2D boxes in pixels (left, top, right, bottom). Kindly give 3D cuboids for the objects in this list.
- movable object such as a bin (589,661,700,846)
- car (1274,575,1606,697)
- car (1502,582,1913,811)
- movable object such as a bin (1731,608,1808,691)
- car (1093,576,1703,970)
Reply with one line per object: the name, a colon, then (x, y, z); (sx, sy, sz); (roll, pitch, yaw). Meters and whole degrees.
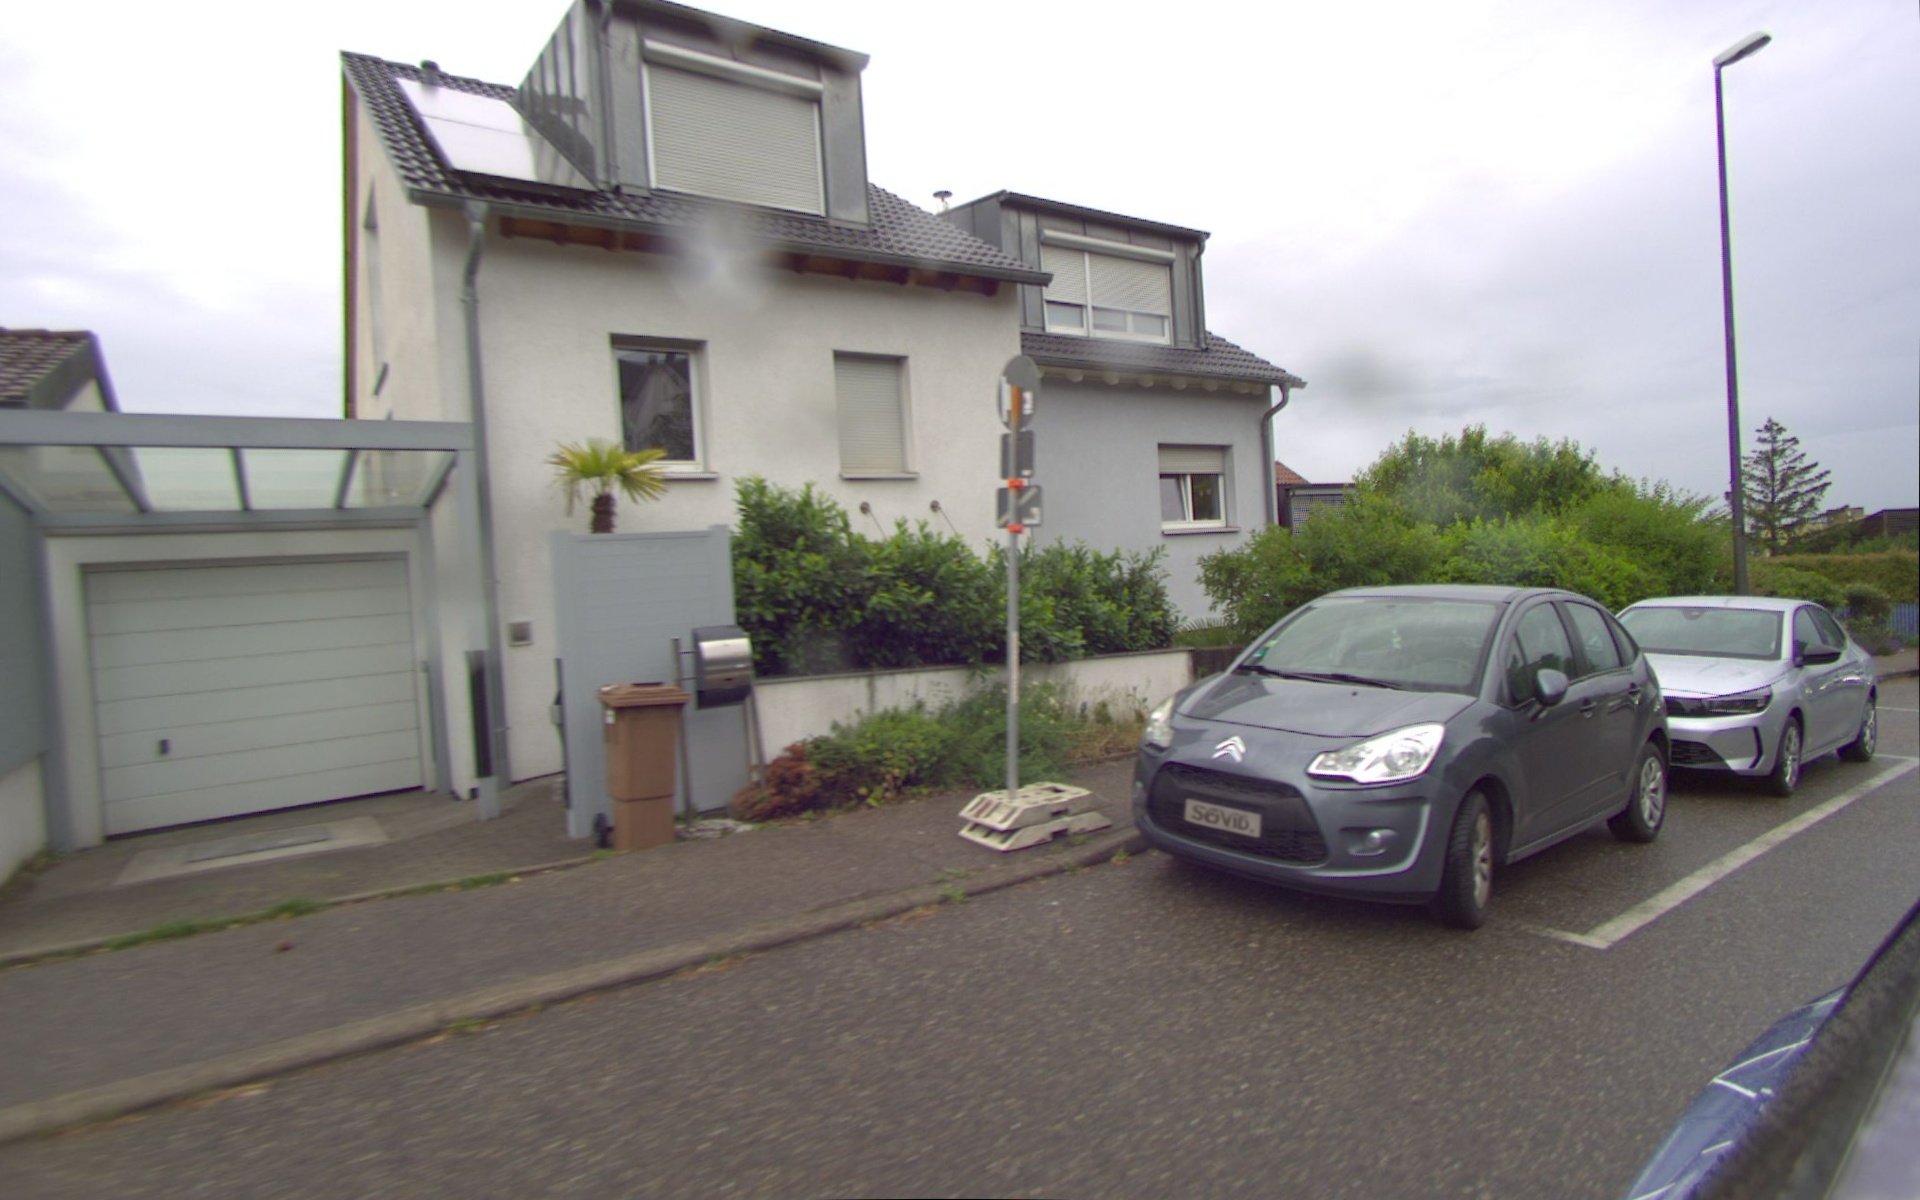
movable object such as a bin: (-1.808, 0.849, 5.790); (0.490, 0.951, 0.433); (0, 0, -37)
car: (7.045, 0.611, 15.286); (1.961, 1.461, 4.000); (-1, -5, -31)
car: (6.556, 0.619, 8.719); (4.157, 1.485, 1.773); (0, 2, -38)
movable object such as a bin: (11.124, 0.665, 13.908); (0.633, 1.081, 0.678); (0, 0, -35)
car: (2.632, 0.636, 5.715); (3.696, 1.485, 1.663); (0, 2, -40)
